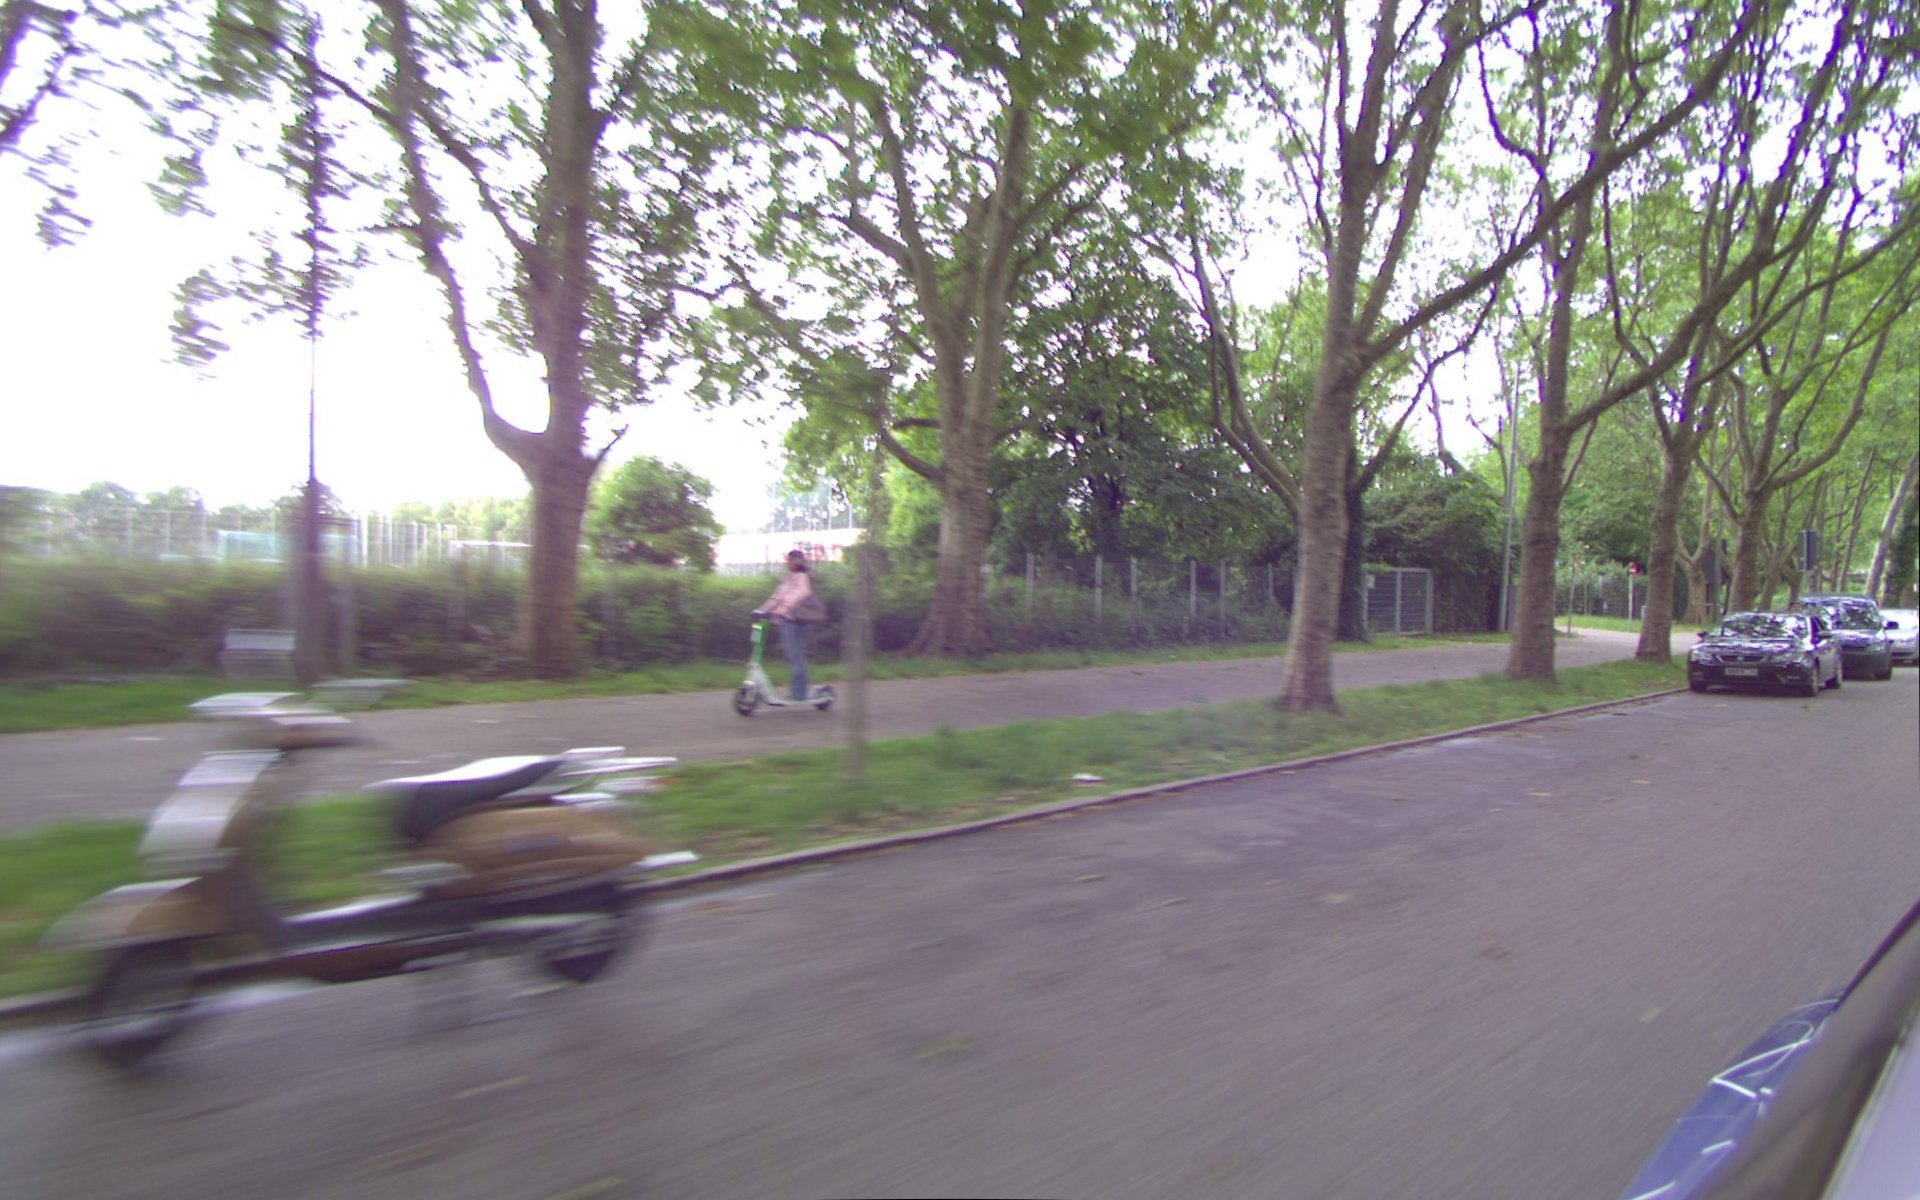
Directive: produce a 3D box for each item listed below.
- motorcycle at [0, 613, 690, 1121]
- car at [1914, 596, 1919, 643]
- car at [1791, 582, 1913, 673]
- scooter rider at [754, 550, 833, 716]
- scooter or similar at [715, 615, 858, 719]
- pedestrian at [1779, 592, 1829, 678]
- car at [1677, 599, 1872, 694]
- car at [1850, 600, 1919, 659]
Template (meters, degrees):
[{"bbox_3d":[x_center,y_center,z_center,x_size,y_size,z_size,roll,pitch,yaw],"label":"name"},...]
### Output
[{"bbox_3d":[-2.018,0.733,3.539,1.953,1.348,0.715,0,0,-33],"label":"motorcycle"},{"bbox_3d":[35.287,0.649,35.802,4.390,1.623,1.831,0,-2,-42],"label":"car"},{"bbox_3d":[19.664,0.574,22.421,1.839,1.806,4.382,-2,-2,40],"label":"car"},{"bbox_3d":[-1.907,0.351,11.542,0.577,1.822,0.678,1,2,-40],"label":"scooter rider"},{"bbox_3d":[-1.963,0.728,11.526,1.441,1.050,0.682,0,3,-41],"label":"scooter or similar"},{"bbox_3d":[16.738,0.680,20.069,0.729,1.647,0.634,0,0,-41],"label":"pedestrian"},{"bbox_3d":[14.655,0.746,18.134,4.295,1.497,1.997,0,-1,-41],"label":"car"},{"bbox_3d":[25.225,0.768,26.985,3.875,1.480,1.622,0,-2,-40],"label":"car"}]
